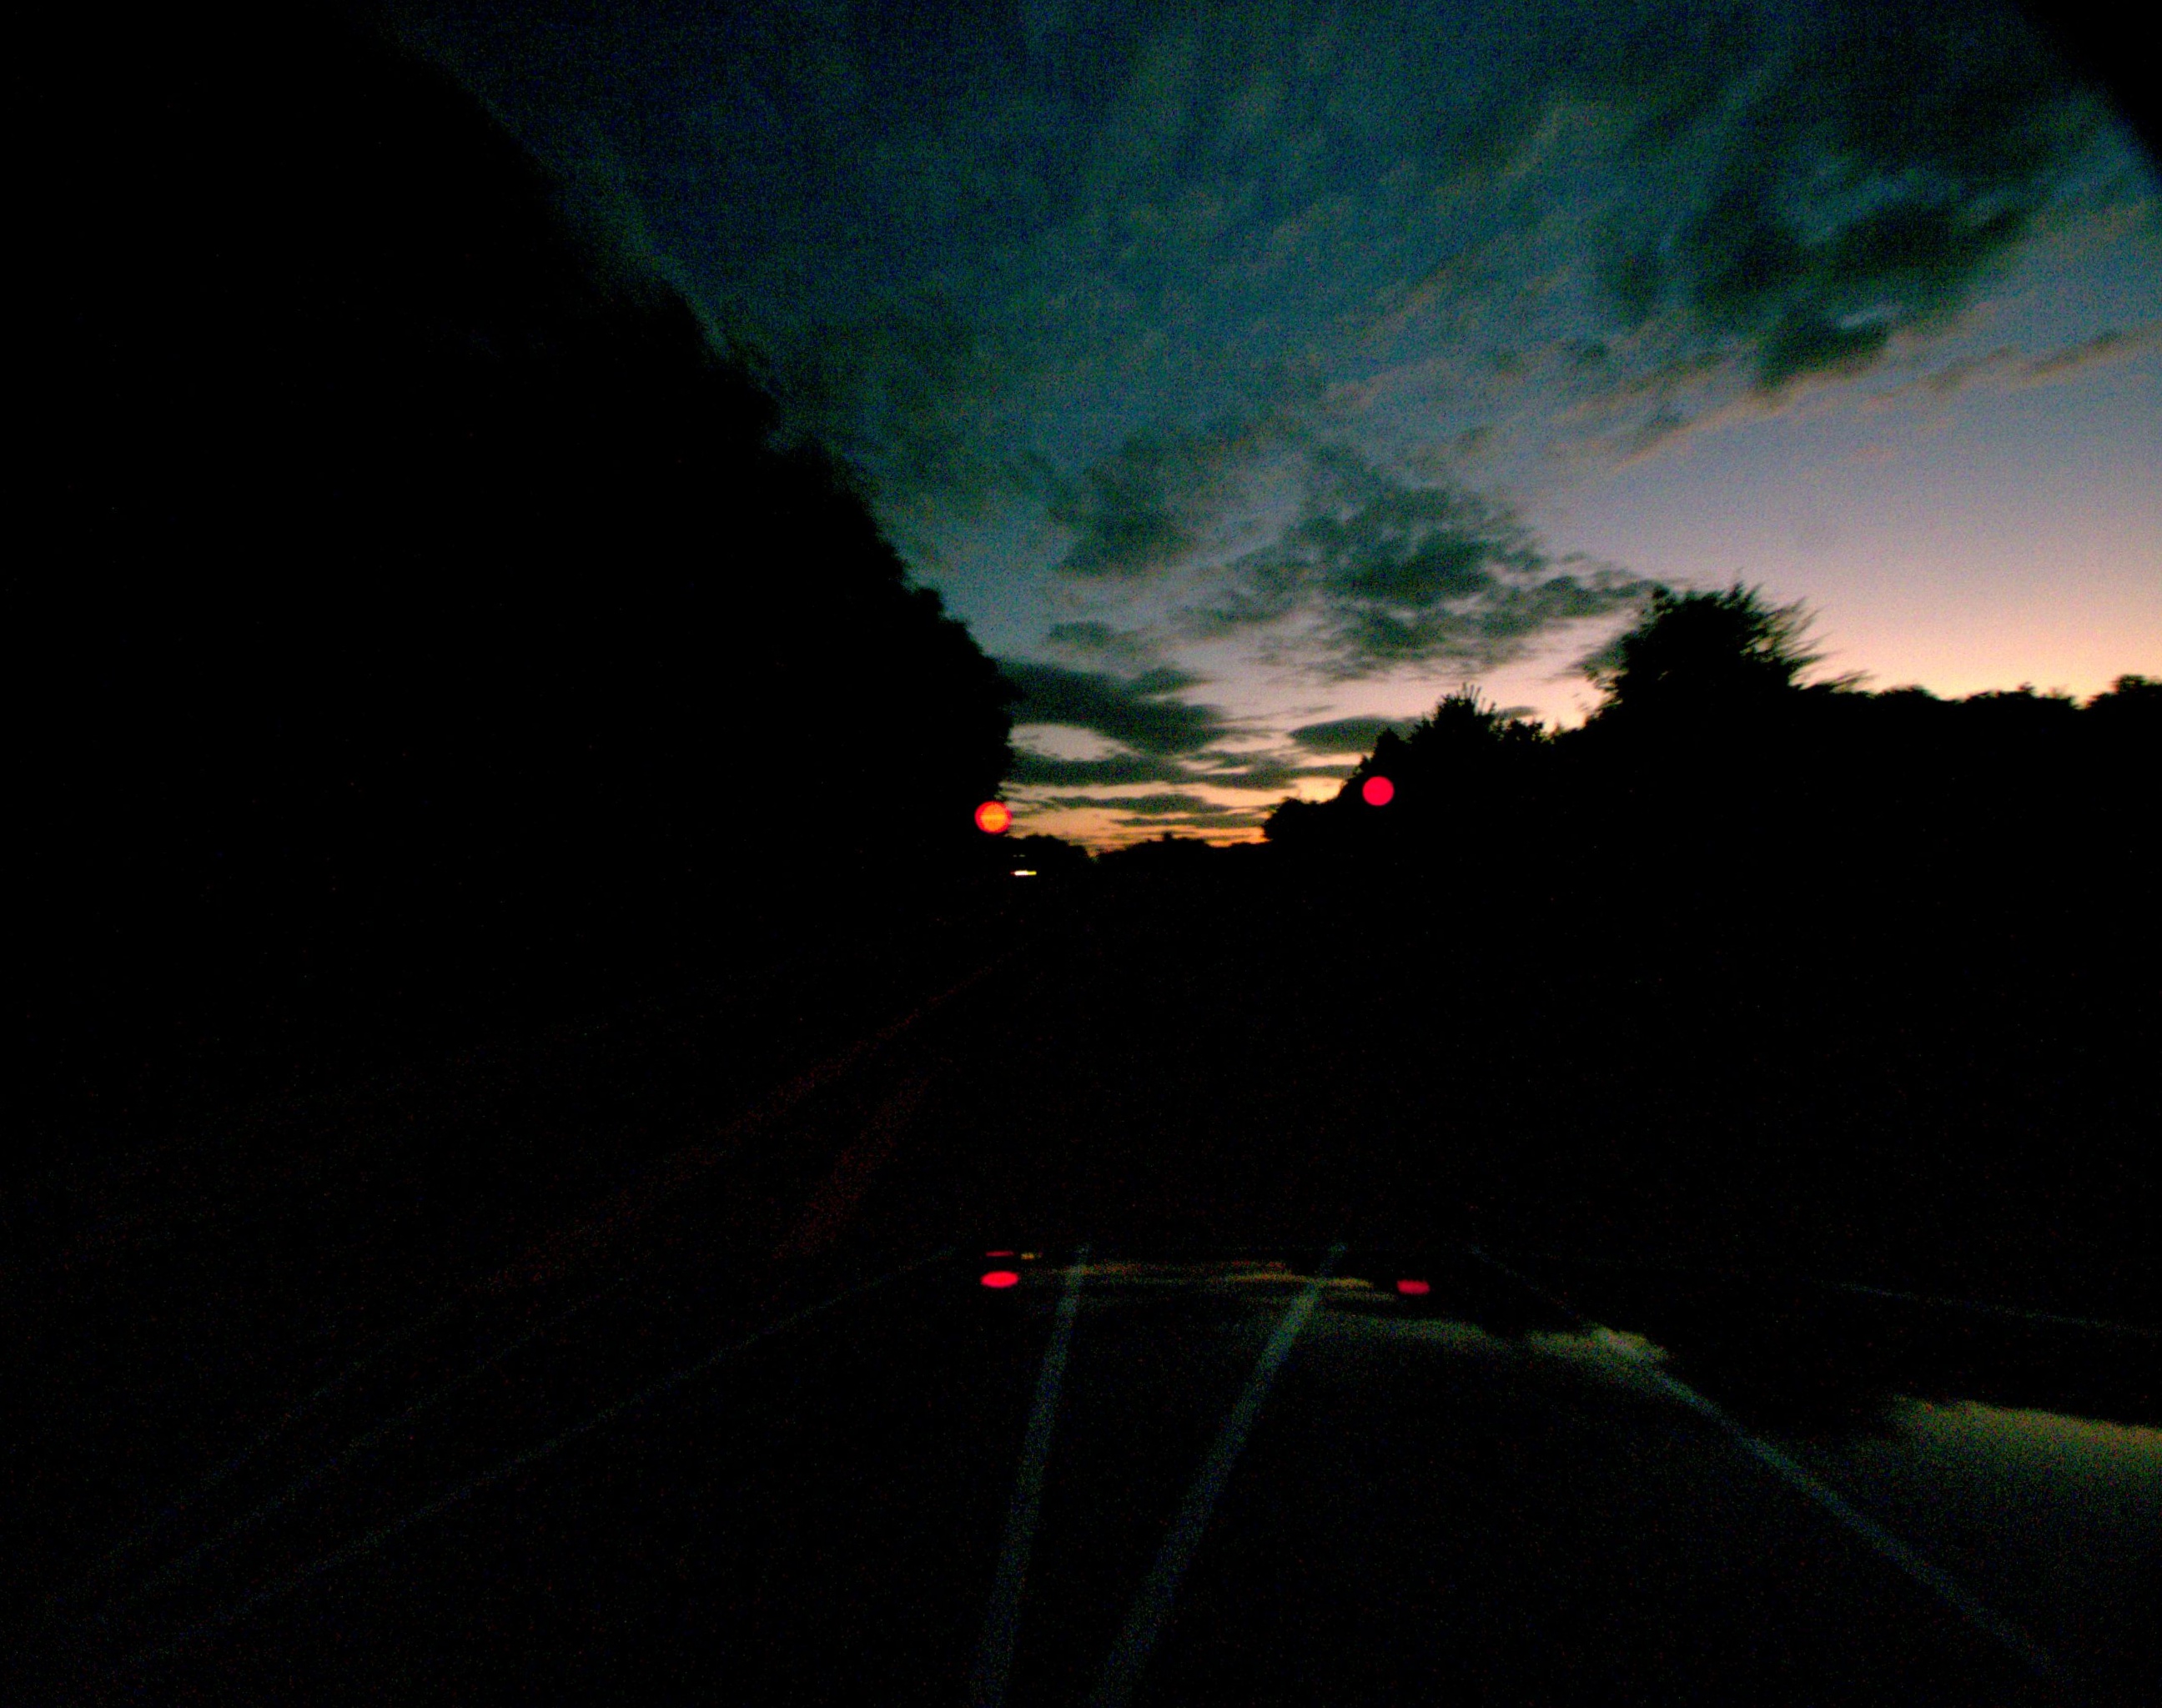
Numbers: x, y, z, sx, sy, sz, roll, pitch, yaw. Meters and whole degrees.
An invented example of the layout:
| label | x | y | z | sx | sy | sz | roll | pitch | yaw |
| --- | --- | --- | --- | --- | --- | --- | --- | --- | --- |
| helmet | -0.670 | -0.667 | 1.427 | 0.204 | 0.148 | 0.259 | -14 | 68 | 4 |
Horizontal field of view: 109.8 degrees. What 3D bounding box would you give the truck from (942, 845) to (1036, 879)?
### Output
| label | x | y | z | sx | sy | sz | roll | pitch | yaw |
| --- | --- | --- | --- | --- | --- | --- | --- | --- | --- |
| truck | -14.121 | 1.321 | 114.068 | 16.971 | 4.642 | 2.528 | -2 | 1 | 38 |
